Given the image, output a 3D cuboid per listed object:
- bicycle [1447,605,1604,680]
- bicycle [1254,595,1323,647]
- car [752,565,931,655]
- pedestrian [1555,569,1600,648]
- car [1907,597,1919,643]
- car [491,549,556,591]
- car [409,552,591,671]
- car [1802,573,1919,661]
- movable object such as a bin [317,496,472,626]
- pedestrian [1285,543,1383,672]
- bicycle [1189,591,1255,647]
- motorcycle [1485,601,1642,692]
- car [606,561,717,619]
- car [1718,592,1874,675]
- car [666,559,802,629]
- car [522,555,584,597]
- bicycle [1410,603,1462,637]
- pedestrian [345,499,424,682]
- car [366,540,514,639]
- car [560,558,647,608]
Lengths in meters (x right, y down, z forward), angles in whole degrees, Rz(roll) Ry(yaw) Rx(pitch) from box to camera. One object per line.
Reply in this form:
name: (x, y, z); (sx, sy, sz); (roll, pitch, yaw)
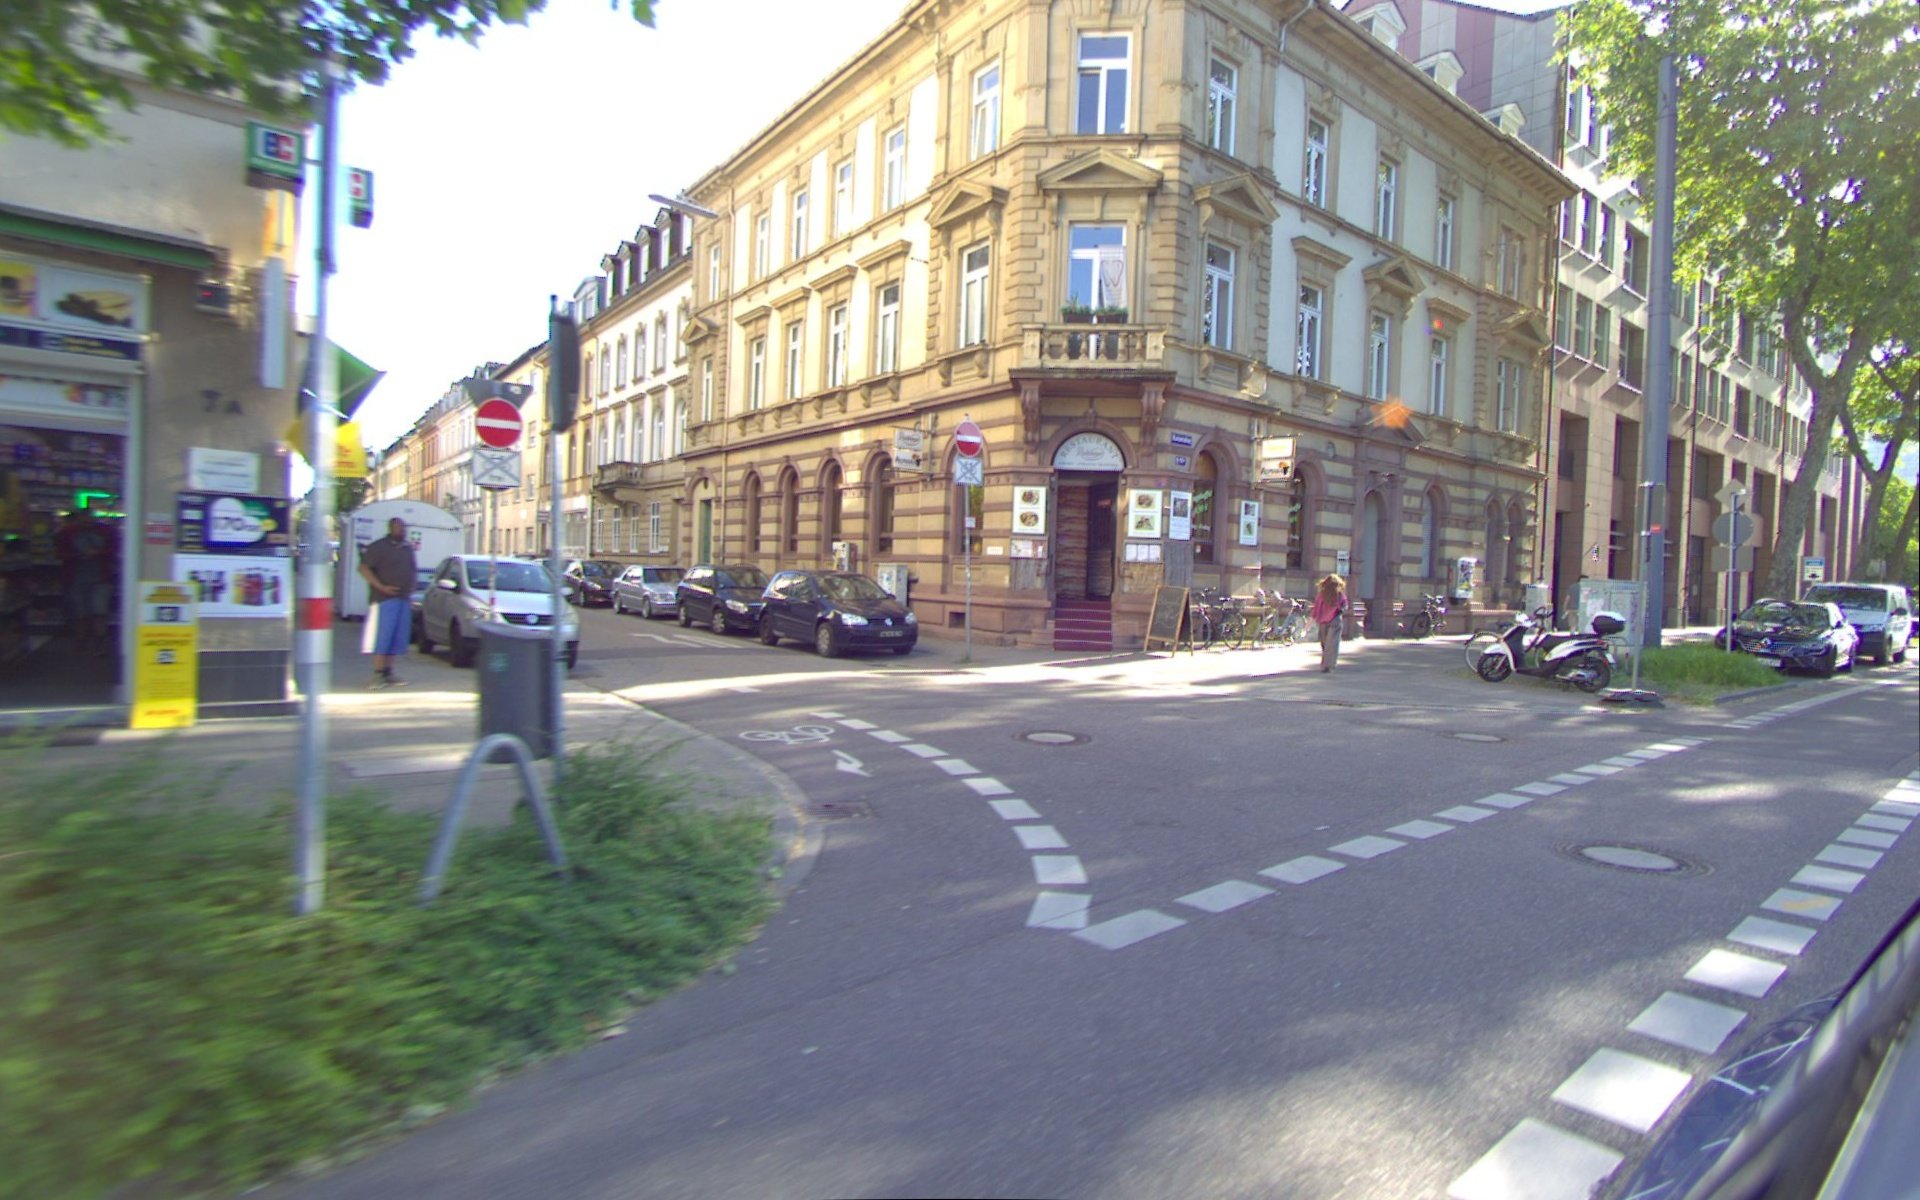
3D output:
bicycle: (9.130, 0.655, 16.452); (0.447, 1.107, 2.227); (1, 0, -39)
bicycle: (6.709, 0.422, 20.624); (1.849, 1.010, 0.415); (0, 1, -41)
car: (-2.295, 0.121, 18.714); (1.605, 1.429, 3.923); (1, 2, -35)
pedestrian: (14.648, 0.192, 24.019); (0.879, 1.850, 0.644); (1, 0, -38)
car: (34.992, 0.711, 35.788); (4.203, 1.590, 1.672); (0, 0, -39)
car: (-17.848, -1.195, 41.287); (1.660, 1.634, 3.985); (0, 1, -35)
car: (-6.829, 0.072, 14.811); (1.635, 1.492, 3.952); (1, 2, -36)
car: (22.945, 0.390, 25.567); (4.640, 2.039, 1.859); (0, 0, -41)
movable object such as a bin: (-12.516, -0.887, 22.307); (2.497, 2.577, 3.789); (-2, 3, -36)
pedestrian: (6.181, 0.095, 16.744); (1.027, 2.038, 1.091); (1, 2, -39)
bicycle: (5.093, 0.358, 19.631); (1.700, 1.033, 0.280); (0, 3, -41)
motorcycle: (8.977, 0.655, 15.127); (0.507, 1.246, 1.951); (1, 0, -43)
car: (-8.260, -0.272, 27.797); (1.739, 1.460, 4.000); (0, 0, -35)
car: (17.404, 0.615, 20.989); (4.626, 1.534, 1.821); (0, 0, -42)
car: (-5.246, -0.192, 23.132); (1.668, 1.422, 4.002); (1, 2, -34)
car: (-14.694, -0.890, 36.455); (1.484, 1.407, 3.464); (0, 2, -32)
bicycle: (12.062, 0.497, 25.613); (1.634, 0.783, 0.550); (0, 3, -41)
pedestrian: (-6.281, -0.107, 11.055); (0.550, 1.927, 0.580); (0, 0, 39)
car: (-9.701, -0.249, 18.718); (1.810, 1.615, 4.000); (1, 2, -36)
car: (-11.448, -0.561, 32.359); (1.672, 1.486, 3.777); (0, 1, -35)
